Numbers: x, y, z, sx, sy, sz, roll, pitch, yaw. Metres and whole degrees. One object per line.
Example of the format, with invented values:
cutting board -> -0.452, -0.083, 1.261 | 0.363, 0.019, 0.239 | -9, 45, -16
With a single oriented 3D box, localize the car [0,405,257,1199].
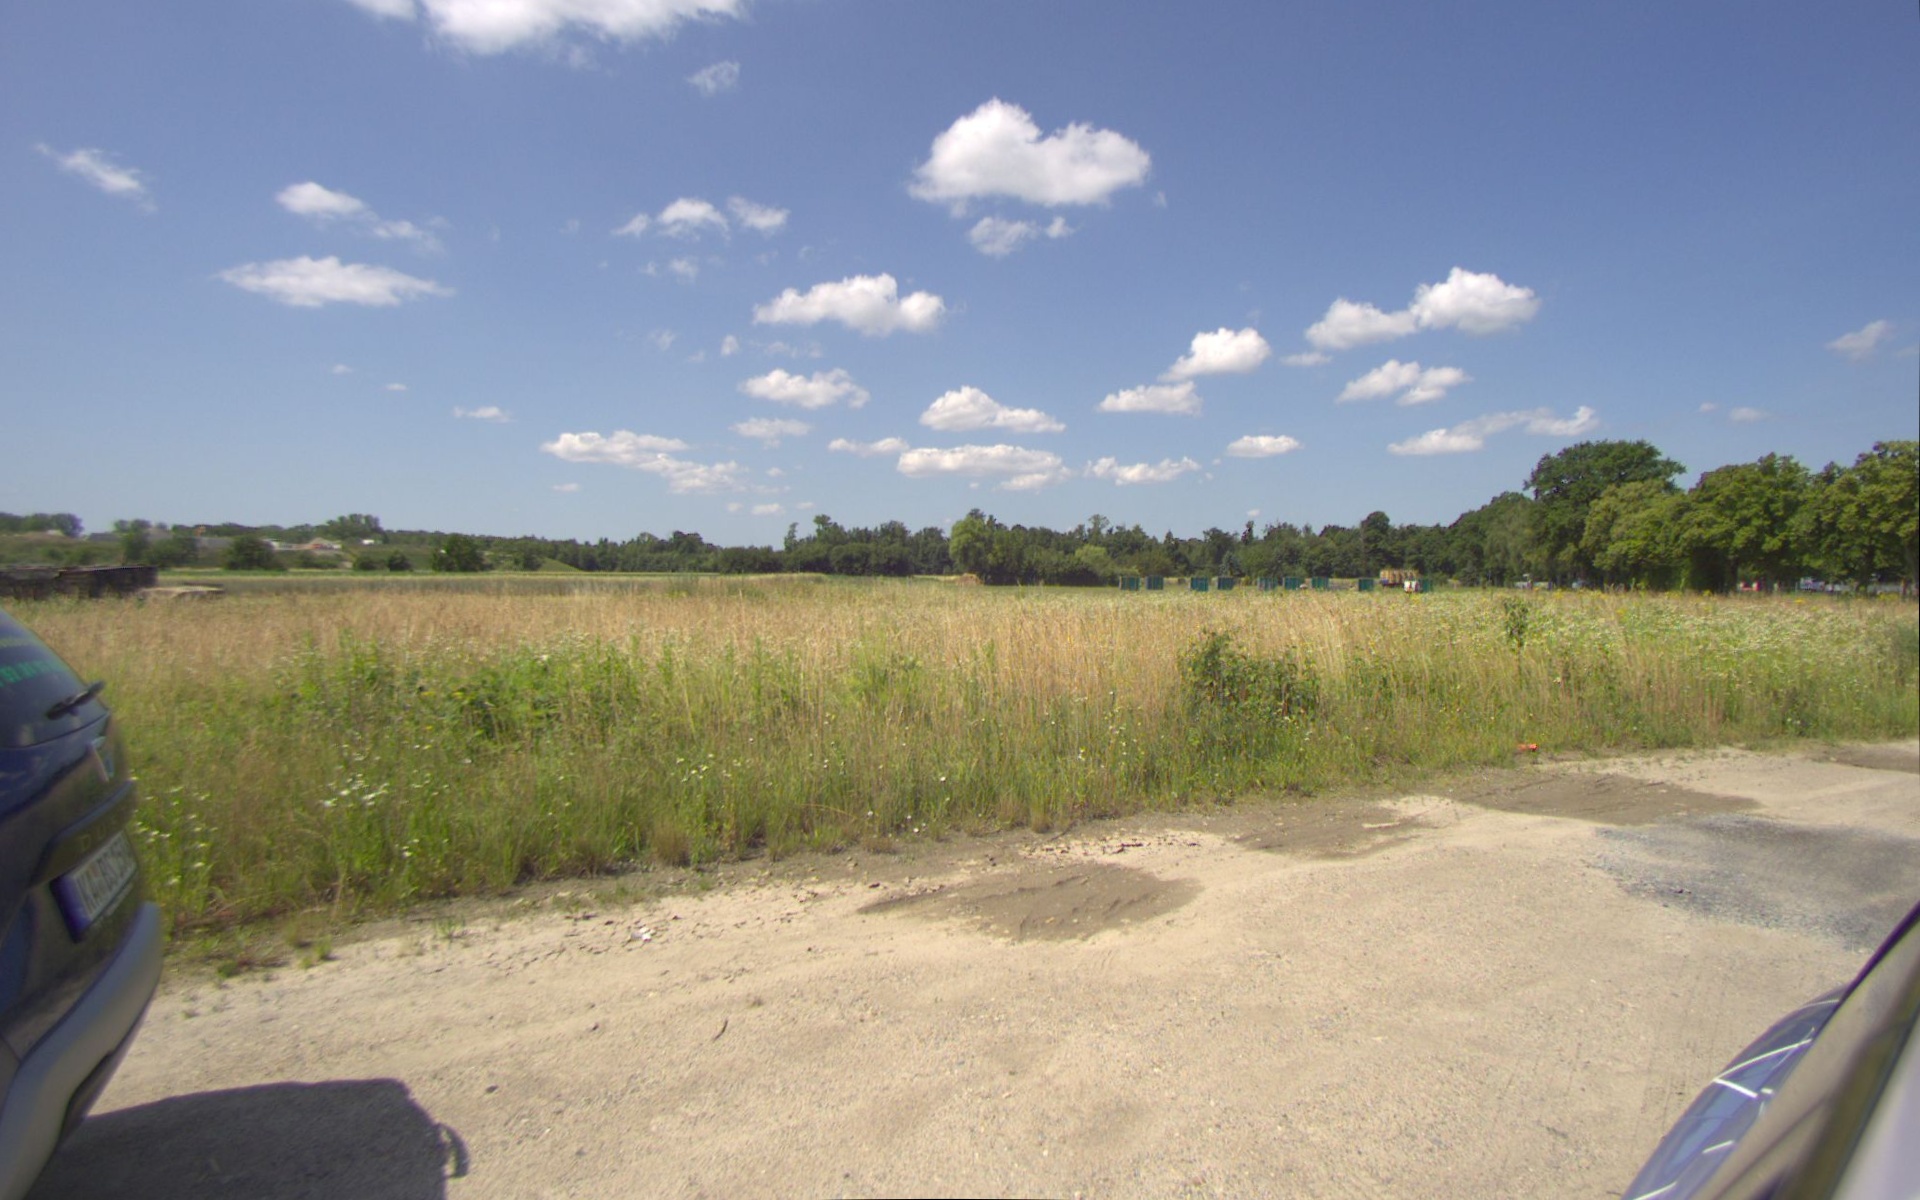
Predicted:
car -> -3.566, 0.609, 1.159 | 4.370, 1.681, 1.866 | -2, 1, -31
